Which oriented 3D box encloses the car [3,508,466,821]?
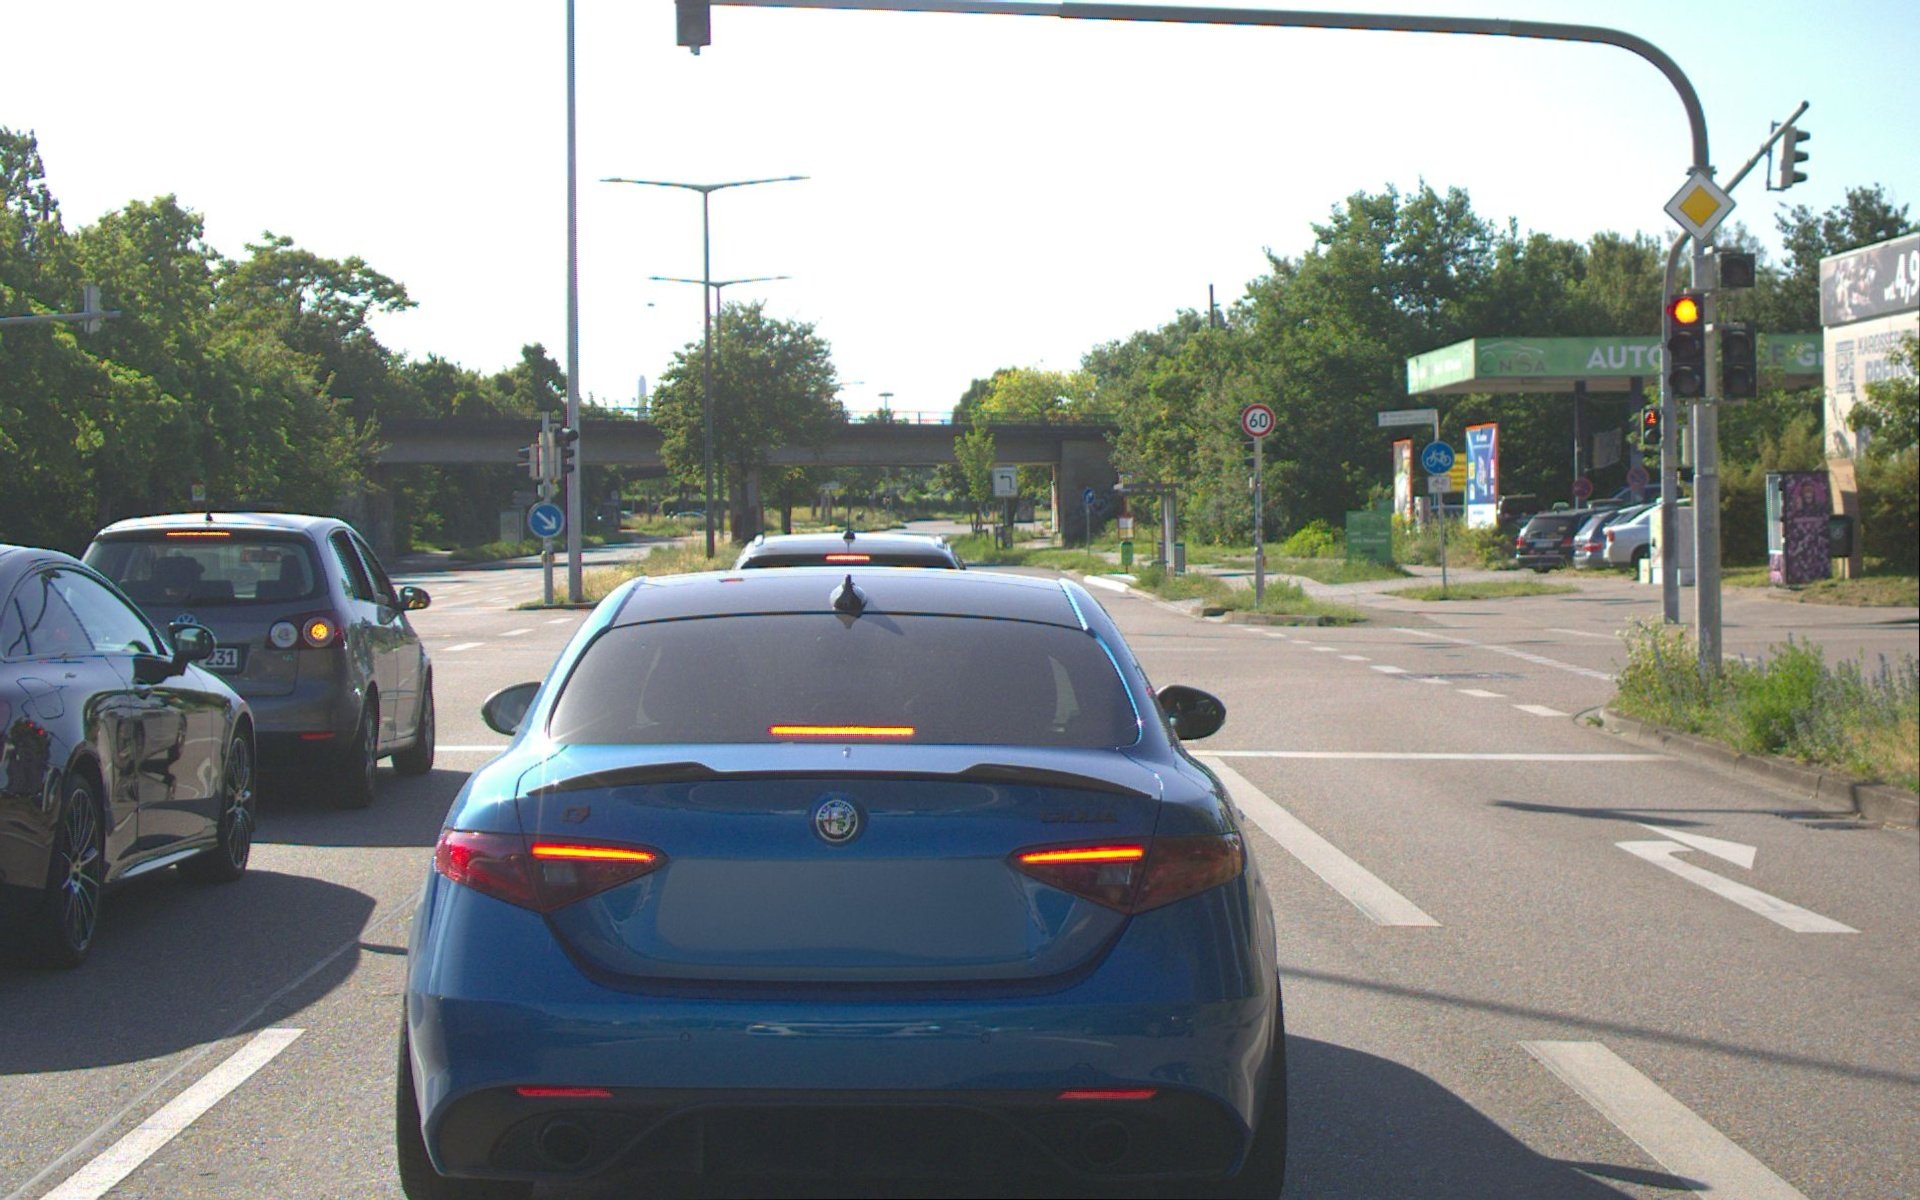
[{"bbox_3d":[-3.952,0.302,19.431,1.812,1.546,4.354,1,1,-2],"label":"car"}]

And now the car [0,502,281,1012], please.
[{"bbox_3d":[-3.821,0.422,12.677,1.812,1.546,4.544,0,1,-1],"label":"car"}]

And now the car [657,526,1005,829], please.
[{"bbox_3d":[-0.624,0.369,19.119,1.704,1.492,3.719,1,1,1],"label":"car"}]

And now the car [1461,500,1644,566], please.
[{"bbox_3d":[14.690,-1.641,85.280,3.986,1.547,2.001,1,1,-18],"label":"car"}]

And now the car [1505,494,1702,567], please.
[{"bbox_3d":[14.324,-1.547,76.680,3.987,1.547,2.000,1,1,1],"label":"car"}]

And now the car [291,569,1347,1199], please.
[{"bbox_3d":[-0.225,0.652,8.127,1.910,1.418,3.719,1,1,1],"label":"car"}]
